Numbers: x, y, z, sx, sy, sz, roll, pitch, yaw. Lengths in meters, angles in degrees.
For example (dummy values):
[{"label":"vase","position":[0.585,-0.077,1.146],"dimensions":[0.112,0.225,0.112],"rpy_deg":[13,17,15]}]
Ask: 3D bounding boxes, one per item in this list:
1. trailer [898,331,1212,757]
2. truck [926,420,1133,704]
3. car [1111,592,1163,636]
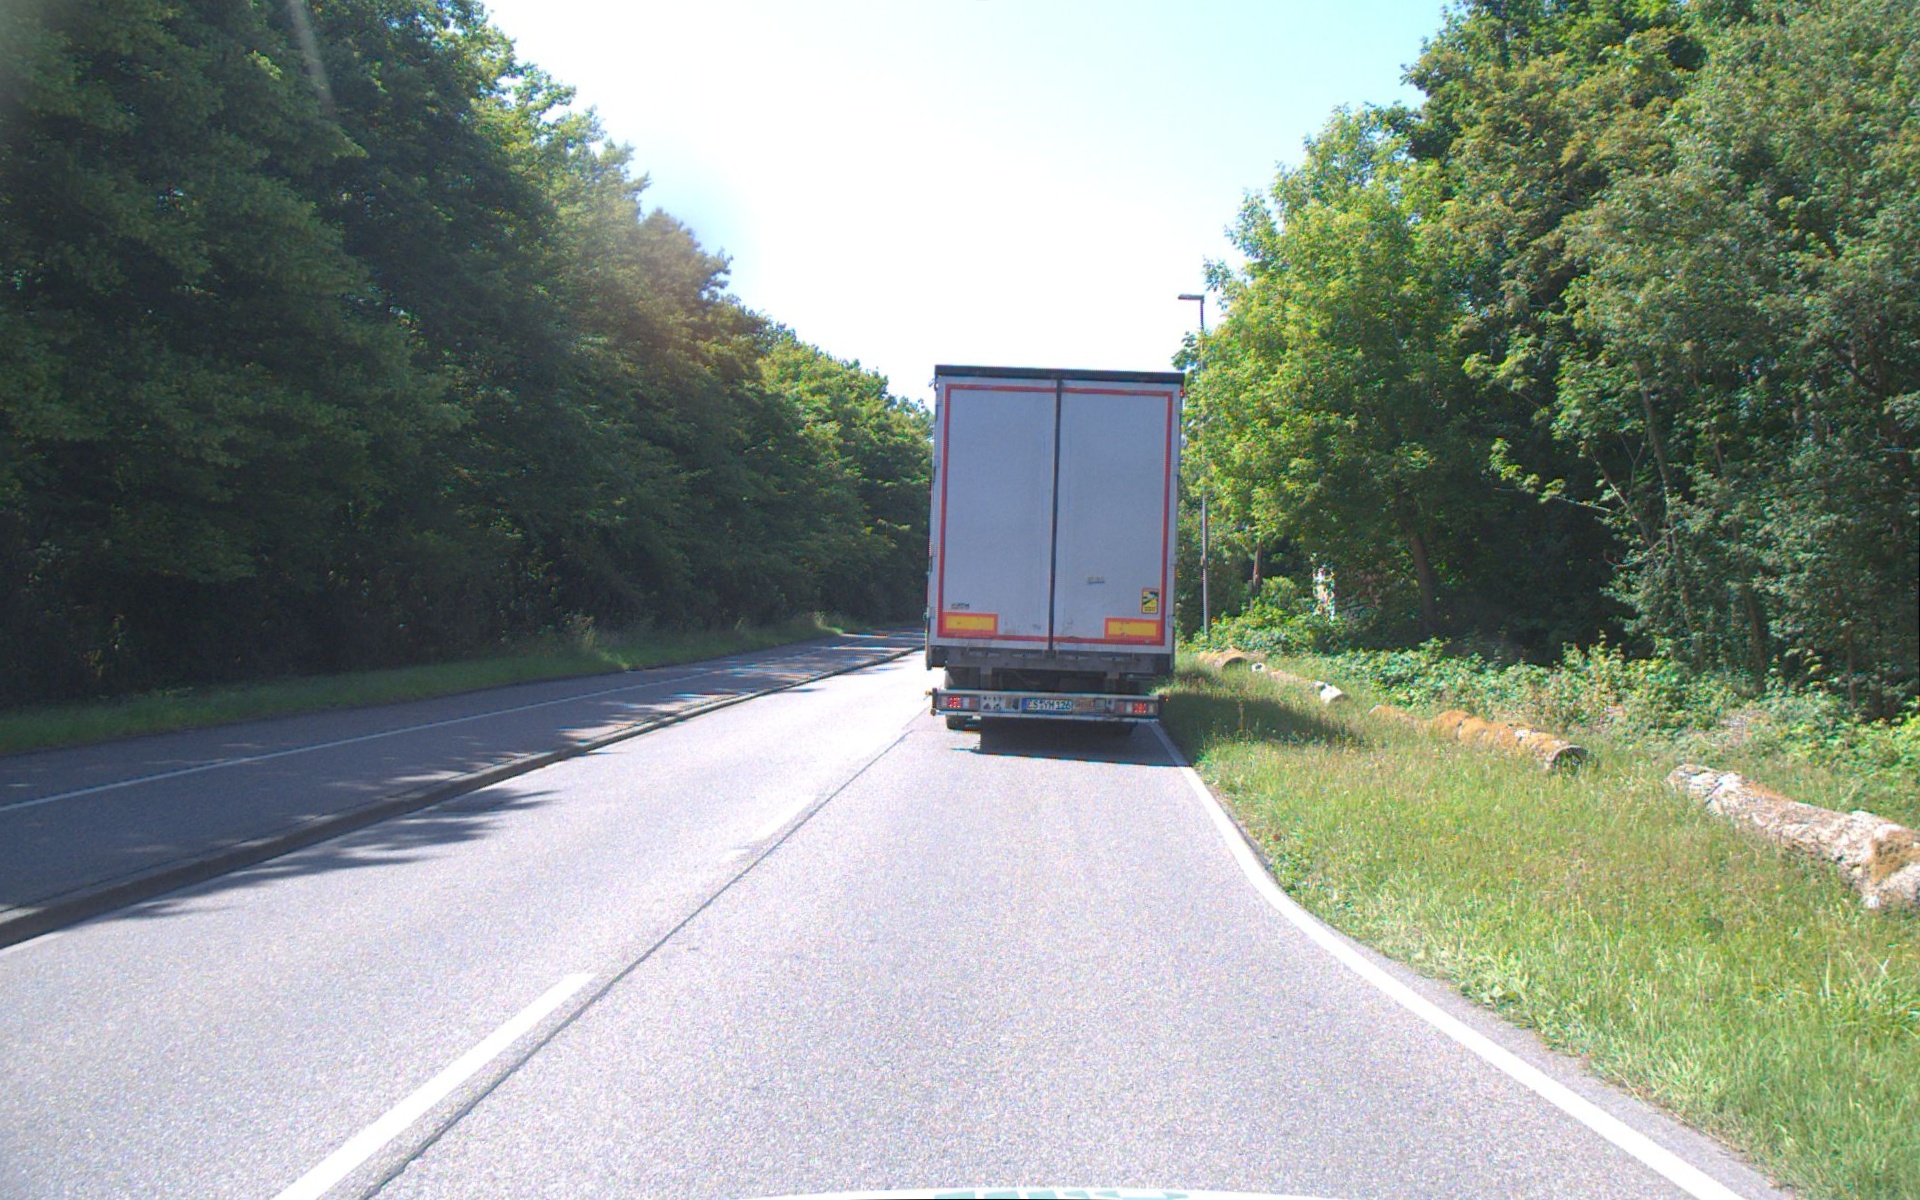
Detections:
[{"label":"trailer","position":[0.993,-0.556,21.251],"dimensions":[3.014,4.141,9.809],"rpy_deg":[1,0,1]},{"label":"truck","position":[1.089,-0.538,28.099],"dimensions":[3.014,4.141,7.959],"rpy_deg":[0,0,1]},{"label":"car","position":[6.471,0.494,60.791],"dimensions":[1.675,1.557,3.852],"rpy_deg":[0,0,3]}]
